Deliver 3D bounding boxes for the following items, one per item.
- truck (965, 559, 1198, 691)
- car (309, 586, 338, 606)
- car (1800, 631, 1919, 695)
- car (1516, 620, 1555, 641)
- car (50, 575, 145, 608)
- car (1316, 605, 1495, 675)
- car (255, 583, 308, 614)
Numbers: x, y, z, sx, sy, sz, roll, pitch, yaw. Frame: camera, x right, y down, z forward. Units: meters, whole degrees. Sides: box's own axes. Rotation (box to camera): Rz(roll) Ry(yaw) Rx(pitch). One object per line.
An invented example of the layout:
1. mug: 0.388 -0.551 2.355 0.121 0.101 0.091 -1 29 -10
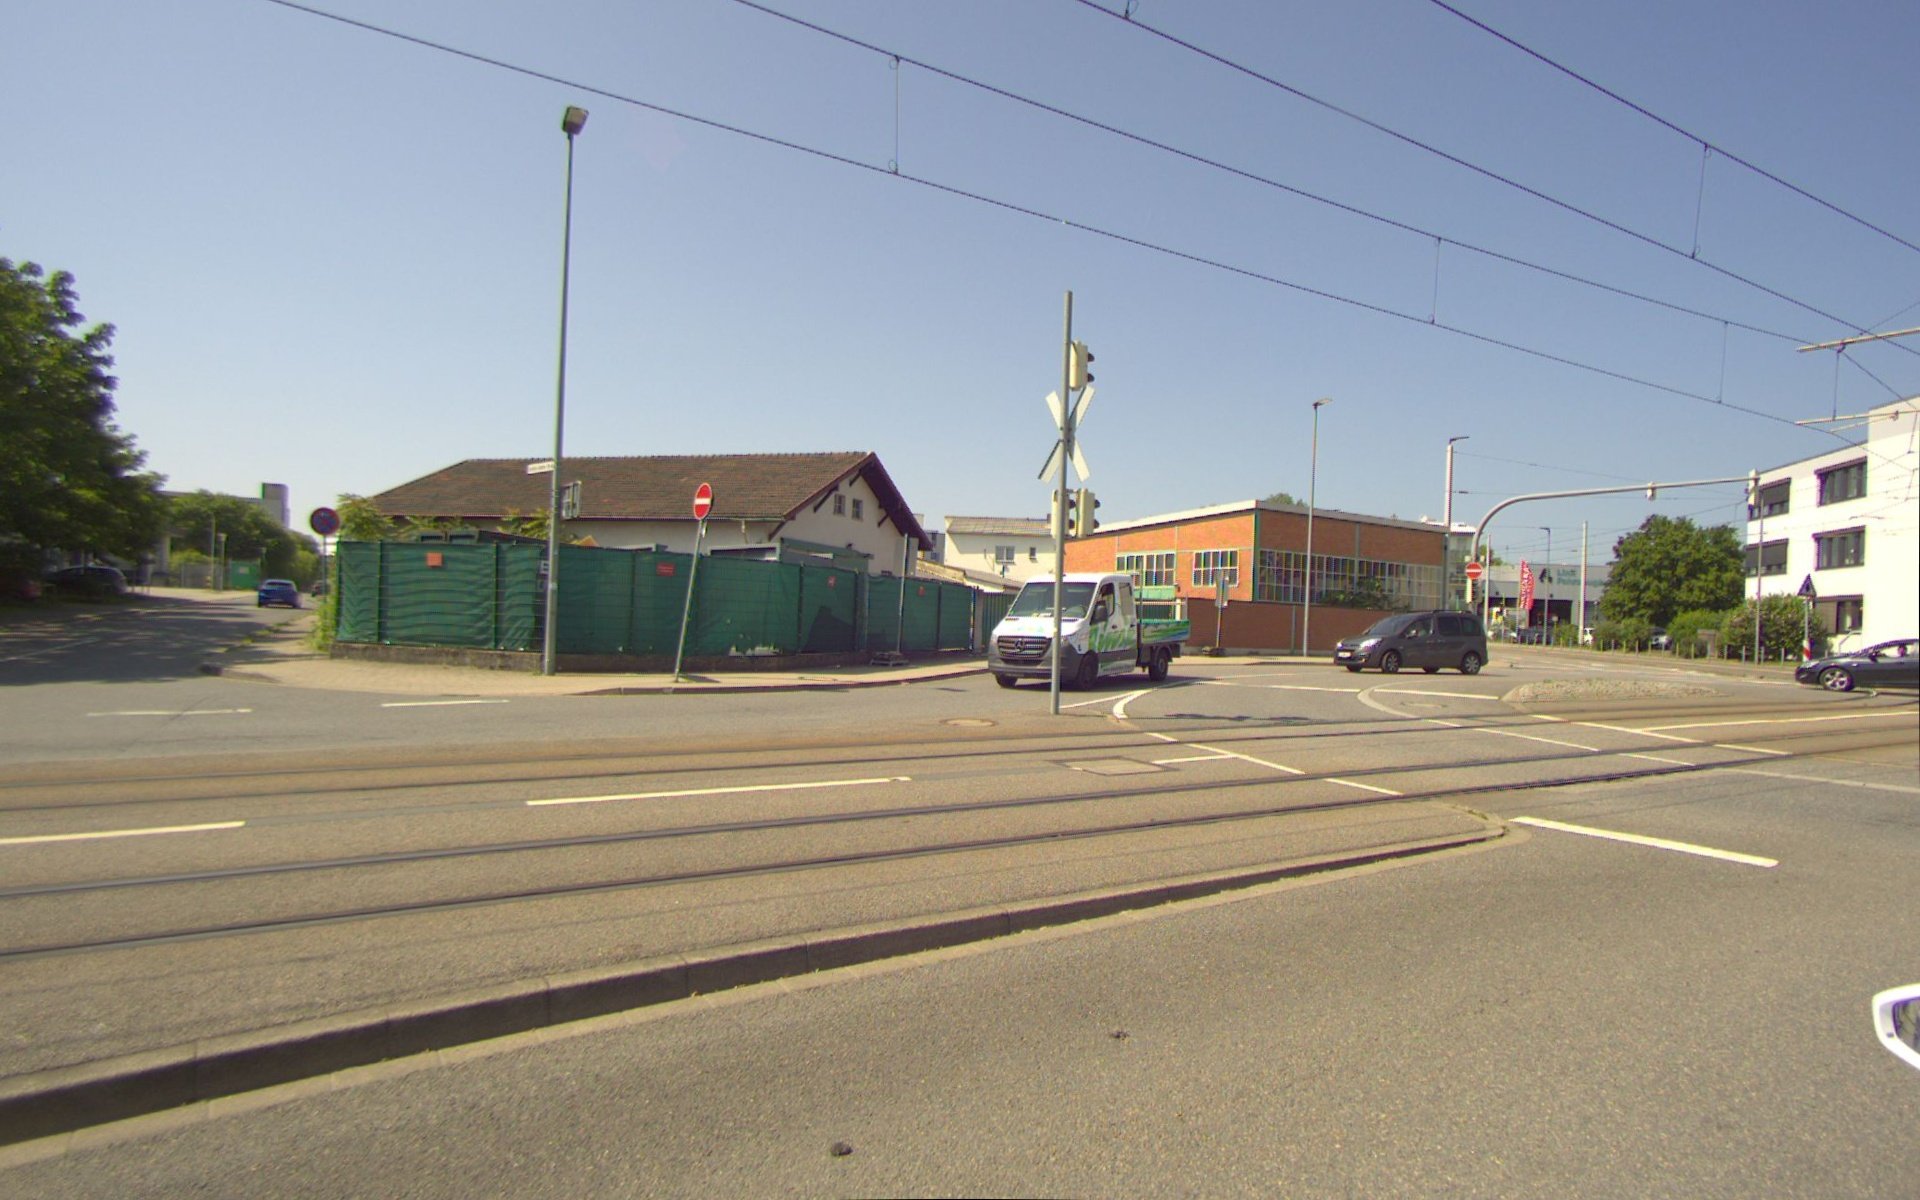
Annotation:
1. truck: 2.806 0.513 21.265 2.172 2.368 6.370 1 -1 34
2. car: -56.183 -0.327 88.756 1.784 1.622 3.971 3 -1 -28
3. car: 25.411 1.695 26.898 1.954 1.576 4.192 2 -1 -40
4. car: 52.637 2.775 91.933 1.959 1.806 4.003 1 -2 12
5. car: -46.413 -0.422 54.136 3.654 1.628 1.560 2 -1 -32
6. car: 12.787 1.132 28.957 4.330 1.842 1.986 2 0 -10
7. car: -35.593 -0.071 52.774 1.784 1.557 4.132 2 -1 -28
